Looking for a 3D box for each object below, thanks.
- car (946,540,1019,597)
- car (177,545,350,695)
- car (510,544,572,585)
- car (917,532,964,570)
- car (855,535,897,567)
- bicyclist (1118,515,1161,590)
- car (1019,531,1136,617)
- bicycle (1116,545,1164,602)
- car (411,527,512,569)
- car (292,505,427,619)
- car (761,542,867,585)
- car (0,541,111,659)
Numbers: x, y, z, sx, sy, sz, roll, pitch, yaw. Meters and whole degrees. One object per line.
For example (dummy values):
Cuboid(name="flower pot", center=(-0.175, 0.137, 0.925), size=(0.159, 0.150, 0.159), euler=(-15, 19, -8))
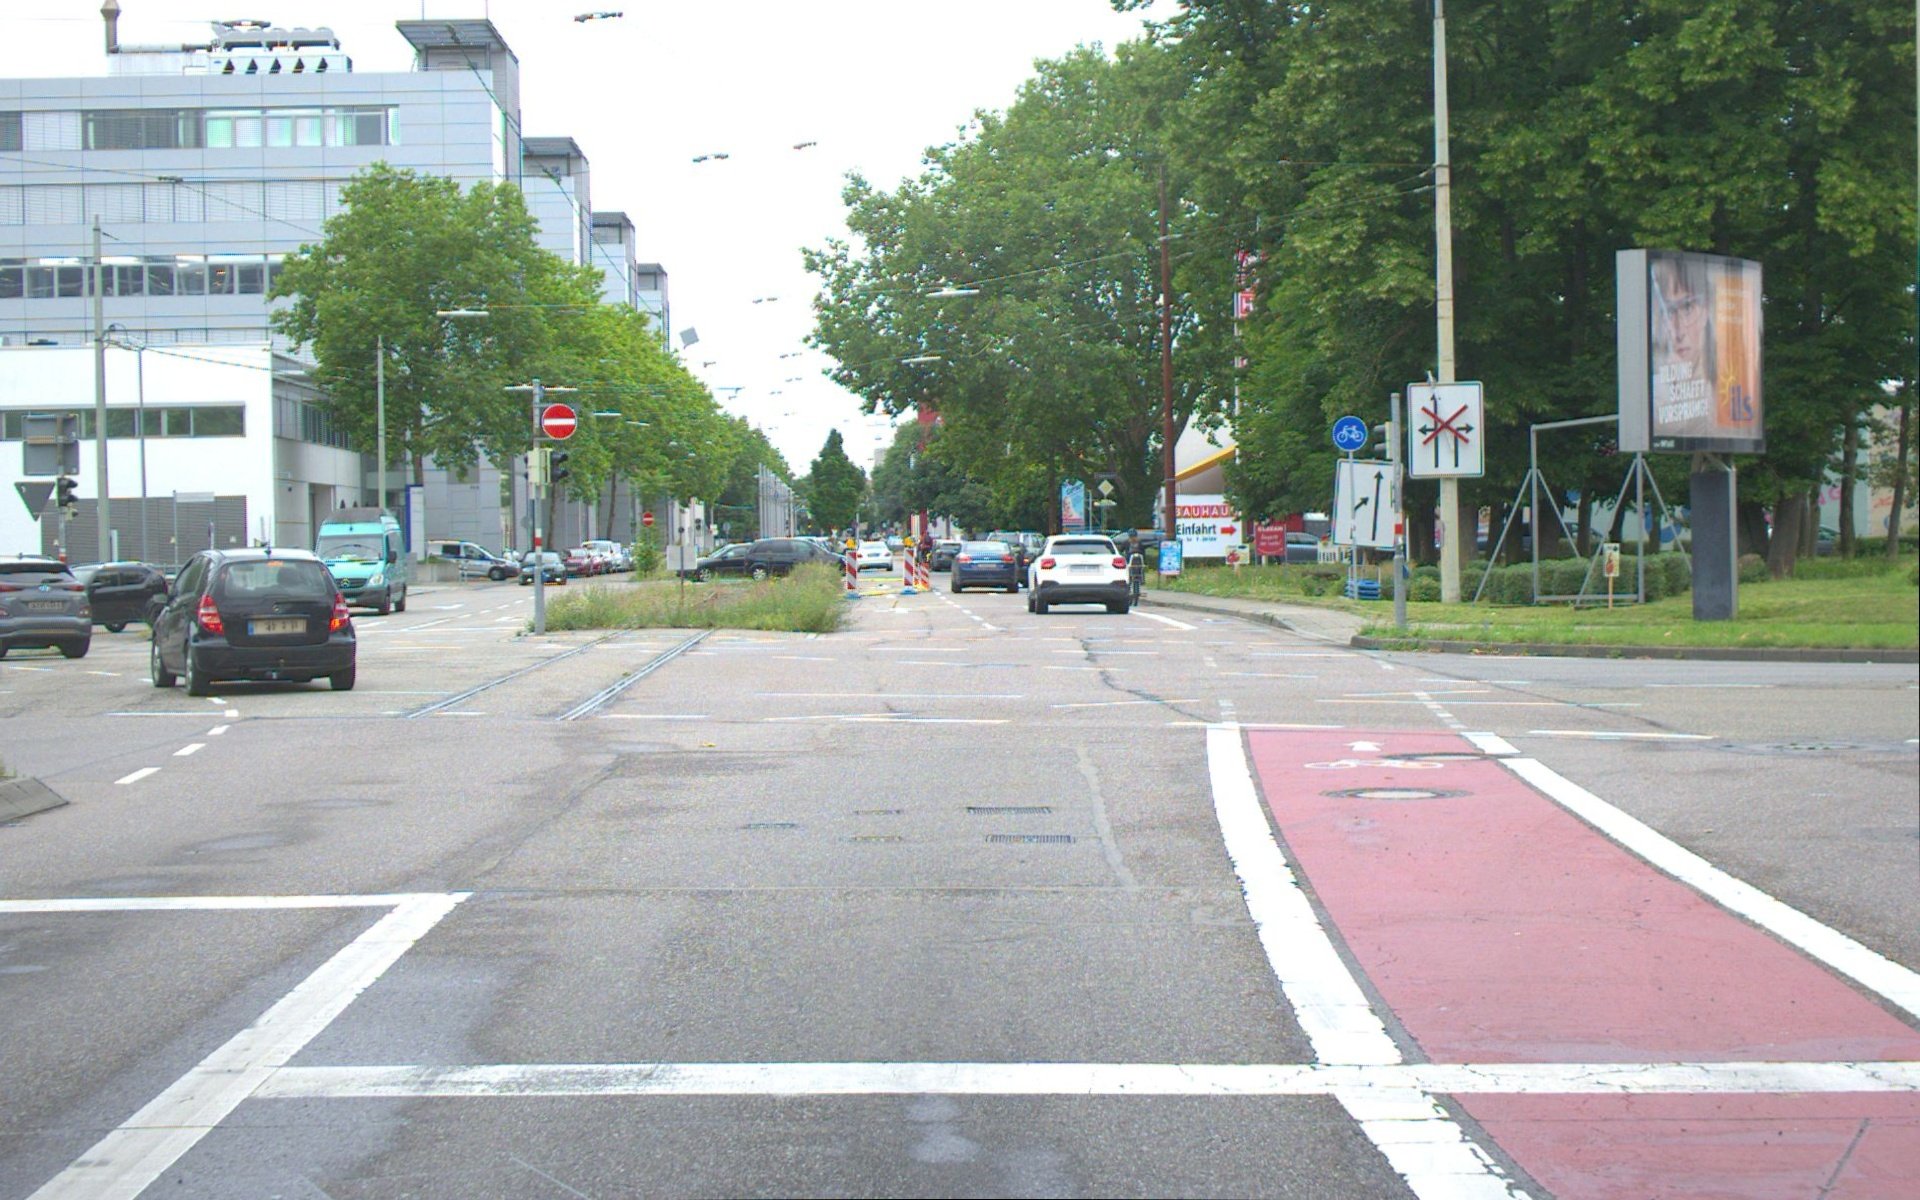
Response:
Cuboid(name="car", center=(0.612, -0.888, 94.596), size=(1.684, 1.508, 3.707), euler=(0, 2, -5))
Cuboid(name="car", center=(-7.642, 0.178, 37.720), size=(1.768, 1.522, 3.671), euler=(0, 2, -11))
Cuboid(name="car", center=(-16.233, -1.372, 133.382), size=(1.819, 1.470, 4.130), euler=(-2, 0, 1))
Cuboid(name="car", center=(-0.898, -2.233, 156.006), size=(1.877, 1.627, 4.001), euler=(-2, 1, -3))
Cuboid(name="car", center=(-4.009, -2.356, 164.182), size=(1.795, 1.508, 3.707), euler=(0, 2, -5))
Cuboid(name="bicyclist", center=(3.973, -1.065, 76.197), size=(0.816, 1.624, 1.235), euler=(-2, 1, -2))
Cuboid(name="car", center=(2.241, -0.521, 66.252), size=(1.823, 1.595, 3.777), euler=(0, 2, -5))
Cuboid(name="bicycle", center=(3.988, -0.601, 76.208), size=(0.816, 1.208, 2.683), euler=(-2, 1, -2))
Cuboid(name="car", center=(-22.796, -2.389, 157.323), size=(4.411, 1.777, 1.826), euler=(-2, 1, -3))
Cuboid(name="car", center=(-15.689, -1.017, 90.133), size=(2.328, 2.816, 5.949), euler=(-1, 1, 1))
Cuboid(name="car", center=(-5.376, -1.357, 126.777), size=(3.883, 1.550, 1.825), euler=(1, 1, -2))
Cuboid(name="car", center=(-14.395, -0.037, 51.203), size=(1.774, 1.647, 3.667), euler=(-1, 2, -45))
